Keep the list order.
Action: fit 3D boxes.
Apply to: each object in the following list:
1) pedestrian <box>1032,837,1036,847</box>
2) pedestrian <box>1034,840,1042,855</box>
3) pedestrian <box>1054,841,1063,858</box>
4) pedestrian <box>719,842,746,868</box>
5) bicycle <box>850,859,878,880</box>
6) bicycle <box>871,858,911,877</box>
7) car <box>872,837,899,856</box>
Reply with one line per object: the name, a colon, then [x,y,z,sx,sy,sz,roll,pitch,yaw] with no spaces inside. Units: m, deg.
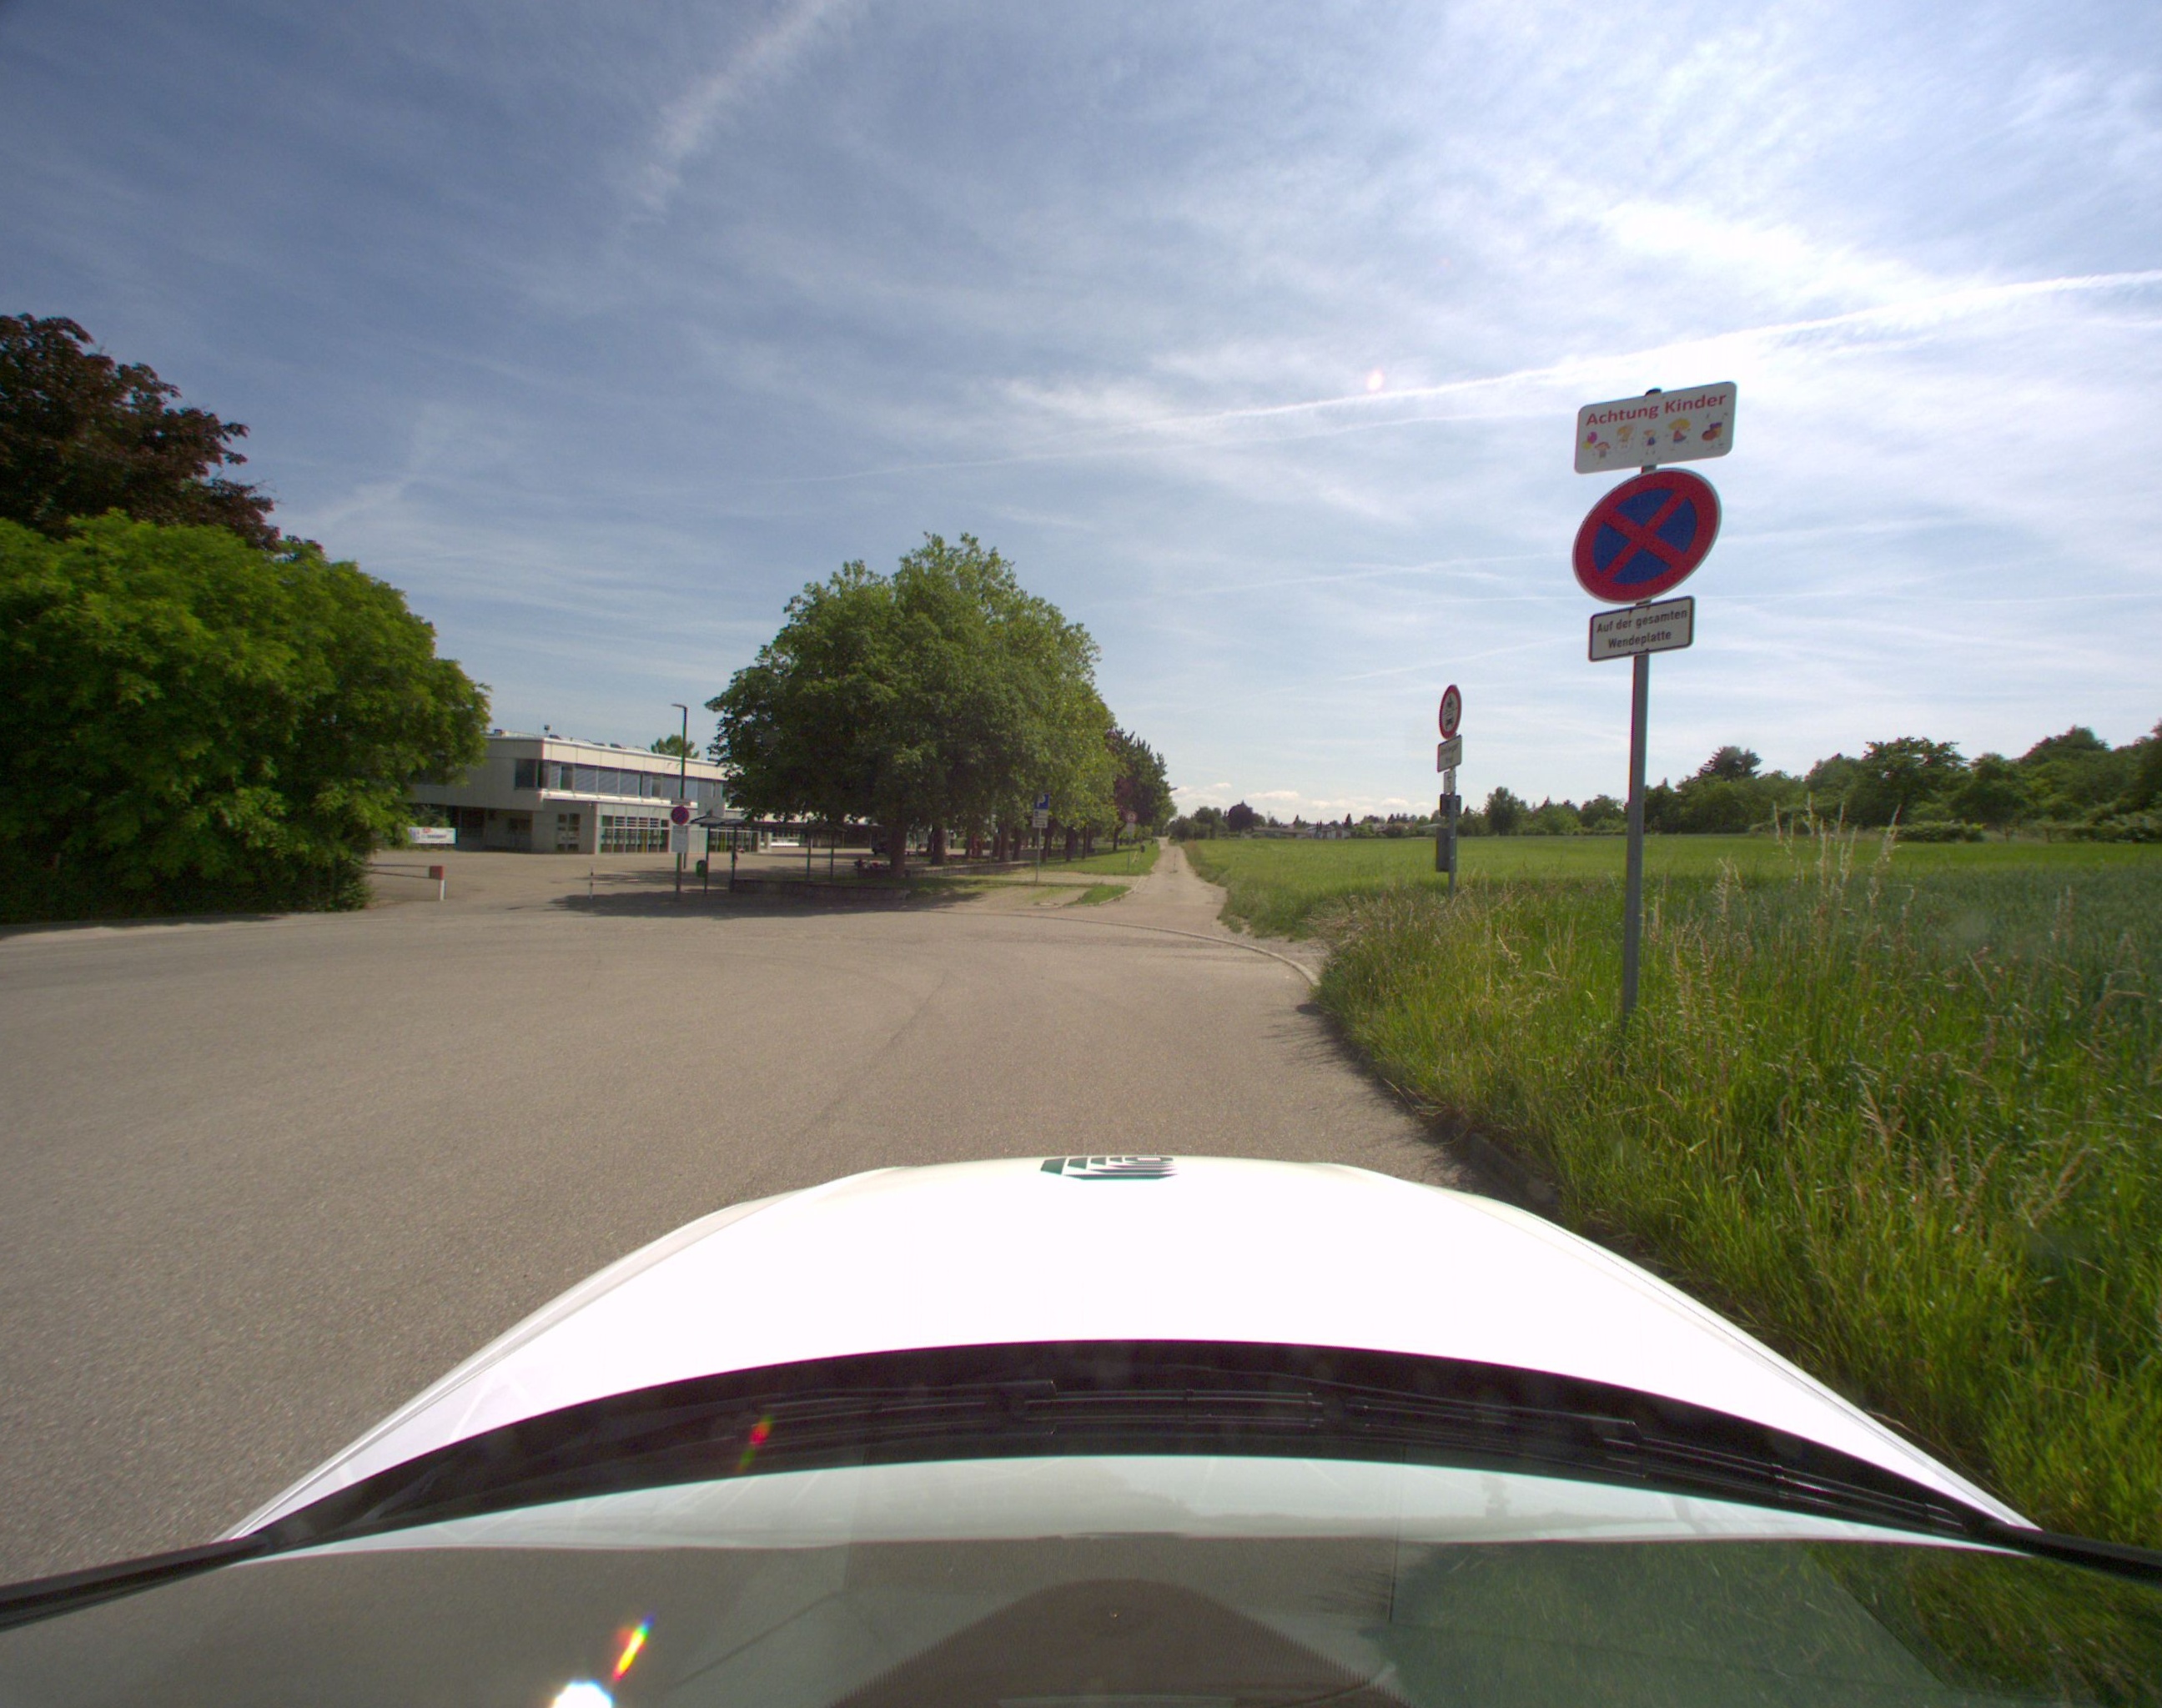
pedestrian: [-9.527,-2.518,165.590,0.719,2.013,0.684,-1,0,7]
pedestrian: [-5.794,-0.850,109.875,0.833,2.013,0.689,2,0,-11]
pedestrian: [-2.804,-0.543,101.132,0.686,2.013,0.796,2,0,-28]
pedestrian: [-20.067,0.074,46.894,0.909,1.423,1.074,2,0,19]
bicycle: [-11.306,0.779,42.411,0.590,1.039,1.899,1,0,12]
bicycle: [-10.389,0.736,44.571,2.057,1.039,0.571,1,0,-3]
car: [-19.739,-0.746,82.173,1.684,1.834,3.413,2,0,3]
